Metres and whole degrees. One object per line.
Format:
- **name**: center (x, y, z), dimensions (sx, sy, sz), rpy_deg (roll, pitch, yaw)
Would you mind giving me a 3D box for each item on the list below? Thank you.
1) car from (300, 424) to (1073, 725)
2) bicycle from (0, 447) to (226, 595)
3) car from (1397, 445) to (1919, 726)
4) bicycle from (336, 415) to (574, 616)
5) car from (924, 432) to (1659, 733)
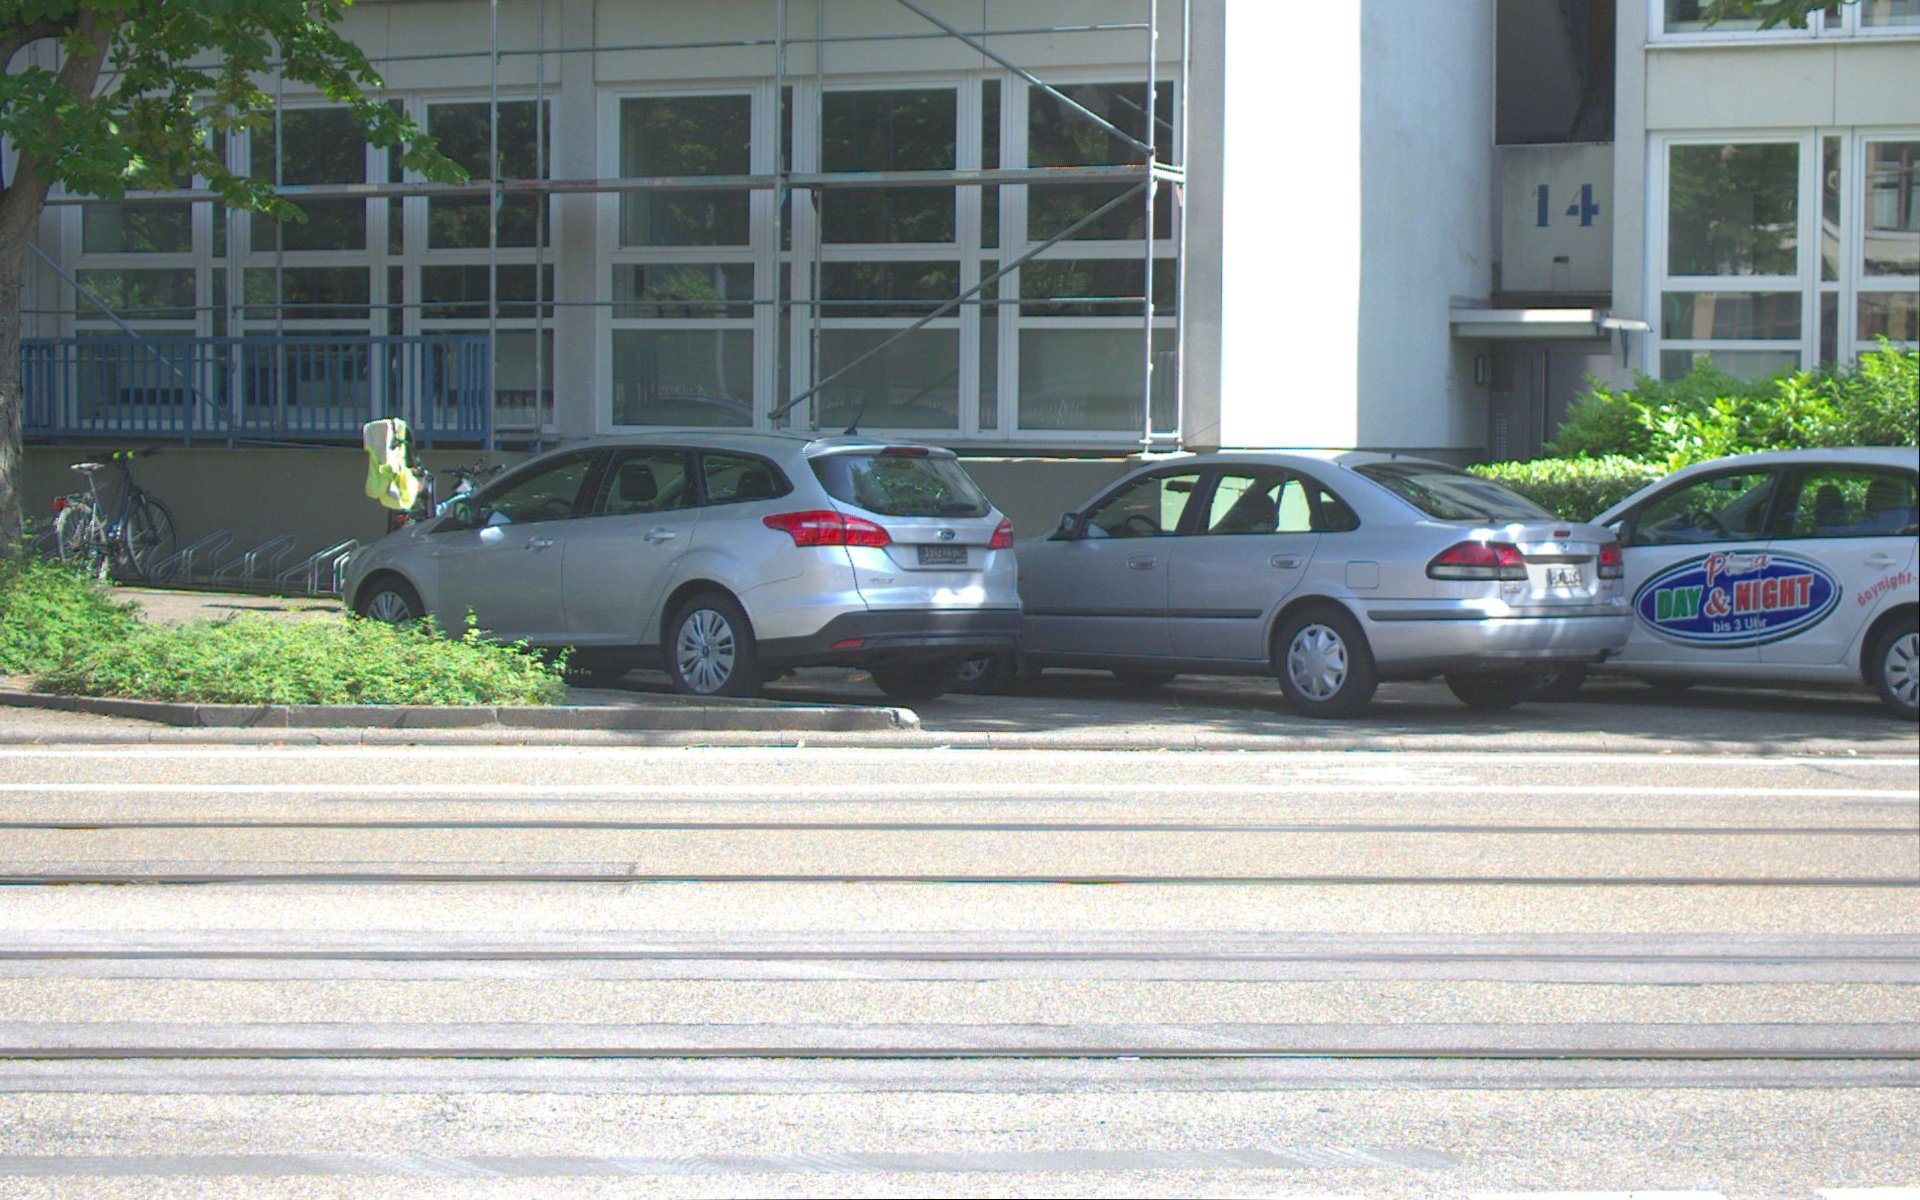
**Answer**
- **car**: center (-1.639, -0.228, 19.430), dimensions (4.432, 1.481, 1.780), rpy_deg (3, 4, 42)
- **bicycle**: center (-6.553, -0.636, 26.687), dimensions (0.741, 1.082, 2.202), rpy_deg (1, 3, 15)
- **car**: center (4.585, -0.136, 19.668), dimensions (3.942, 1.481, 1.609), rpy_deg (2, 3, 43)
- **bicycle**: center (-3.779, -0.657, 25.888), dimensions (0.662, 1.448, 2.087), rpy_deg (2, 3, 28)
- **car**: center (1.775, -0.176, 19.304), dimensions (3.943, 1.481, 1.609), rpy_deg (3, 4, 44)
